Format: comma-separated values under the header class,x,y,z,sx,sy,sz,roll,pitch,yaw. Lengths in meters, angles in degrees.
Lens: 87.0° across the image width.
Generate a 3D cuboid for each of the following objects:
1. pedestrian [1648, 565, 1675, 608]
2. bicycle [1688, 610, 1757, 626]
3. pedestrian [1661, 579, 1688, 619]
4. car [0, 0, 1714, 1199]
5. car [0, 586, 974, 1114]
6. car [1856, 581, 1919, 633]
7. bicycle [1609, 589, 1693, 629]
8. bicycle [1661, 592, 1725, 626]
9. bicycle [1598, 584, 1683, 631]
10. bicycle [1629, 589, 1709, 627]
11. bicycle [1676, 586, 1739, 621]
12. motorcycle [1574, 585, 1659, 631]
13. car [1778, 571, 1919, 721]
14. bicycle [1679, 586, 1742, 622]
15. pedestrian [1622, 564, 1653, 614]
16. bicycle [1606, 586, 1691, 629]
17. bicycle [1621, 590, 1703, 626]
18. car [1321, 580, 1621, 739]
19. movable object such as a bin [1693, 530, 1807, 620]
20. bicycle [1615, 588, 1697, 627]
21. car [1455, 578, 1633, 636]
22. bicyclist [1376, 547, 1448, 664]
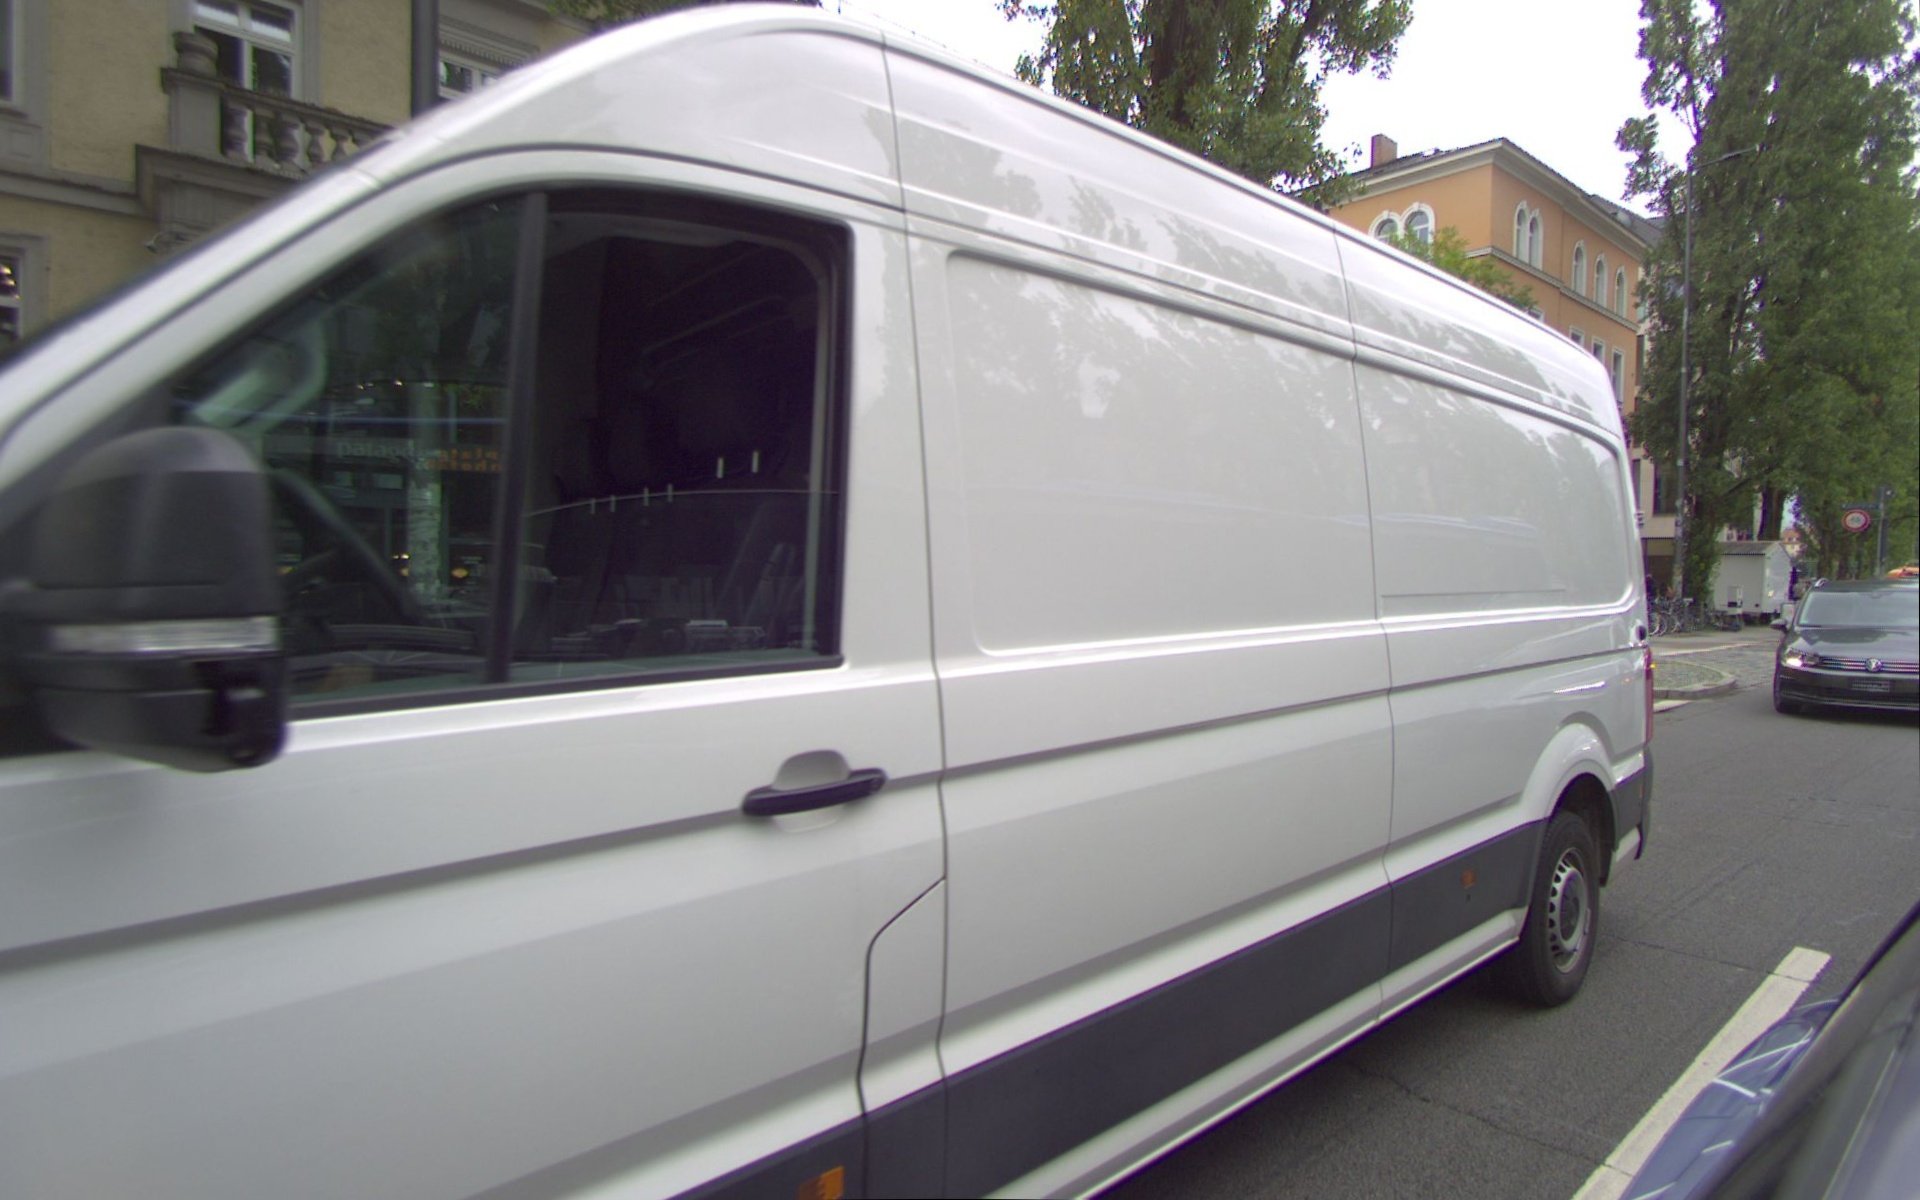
class,x,y,z,sx,sy,sz,roll,pitch,yaw
pedestrian,27.635,-0.542,39.858,0.758,1.681,0.744,-1,0,-44
bicycle,24.141,0.555,32.051,1.672,0.378,0.818,4,3,42
pedestrian,29.034,-0.056,41.102,0.603,1.590,0.746,-1,0,-38
car,0.127,0.135,3.086,6.611,2.524,2.067,0,1,-41
car,-2.032,0.649,4.482,4.273,1.411,1.711,-1,1,-45
car,30.461,0.176,32.678,4.421,1.572,1.787,-1,1,-42
bicycle,20.395,0.245,29.899,0.551,1.102,1.945,0,2,-39
bicycle,23.194,0.279,32.044,1.597,1.022,0.337,2,2,43
bicycle,19.483,0.186,29.010,0.551,1.254,1.945,0,2,-39
bicycle,21.909,0.235,31.299,0.551,1.098,1.945,0,2,-39
bicycle,24.529,0.120,33.233,1.593,1.098,0.319,2,1,28
motorcycle,18.551,0.209,28.645,1.939,1.236,0.510,2,1,25
car,11.520,0.469,12.558,1.877,1.611,4.128,1,1,43
bicycle,24.388,0.128,32.898,1.588,1.098,0.339,2,1,28
pedestrian,26.929,-0.450,40.241,0.788,1.973,0.839,-1,0,-42
bicycle,19.980,0.202,29.401,0.551,1.151,1.945,0,2,-39
bicycle,21.354,0.226,30.816,0.551,1.022,1.945,0,2,-39
car,5.742,0.514,11.175,3.884,1.434,1.696,-1,2,-43
movable object such as a bin,30.071,-0.967,38.471,4.463,3.175,2.445,0,3,-40
bicycle,20.902,0.217,30.431,0.551,1.089,1.945,0,2,-39
car,15.556,0.137,27.053,3.980,1.451,1.596,1,1,37
bicyclist,6.879,0.067,15.399,0.735,1.708,0.740,0,1,-41
